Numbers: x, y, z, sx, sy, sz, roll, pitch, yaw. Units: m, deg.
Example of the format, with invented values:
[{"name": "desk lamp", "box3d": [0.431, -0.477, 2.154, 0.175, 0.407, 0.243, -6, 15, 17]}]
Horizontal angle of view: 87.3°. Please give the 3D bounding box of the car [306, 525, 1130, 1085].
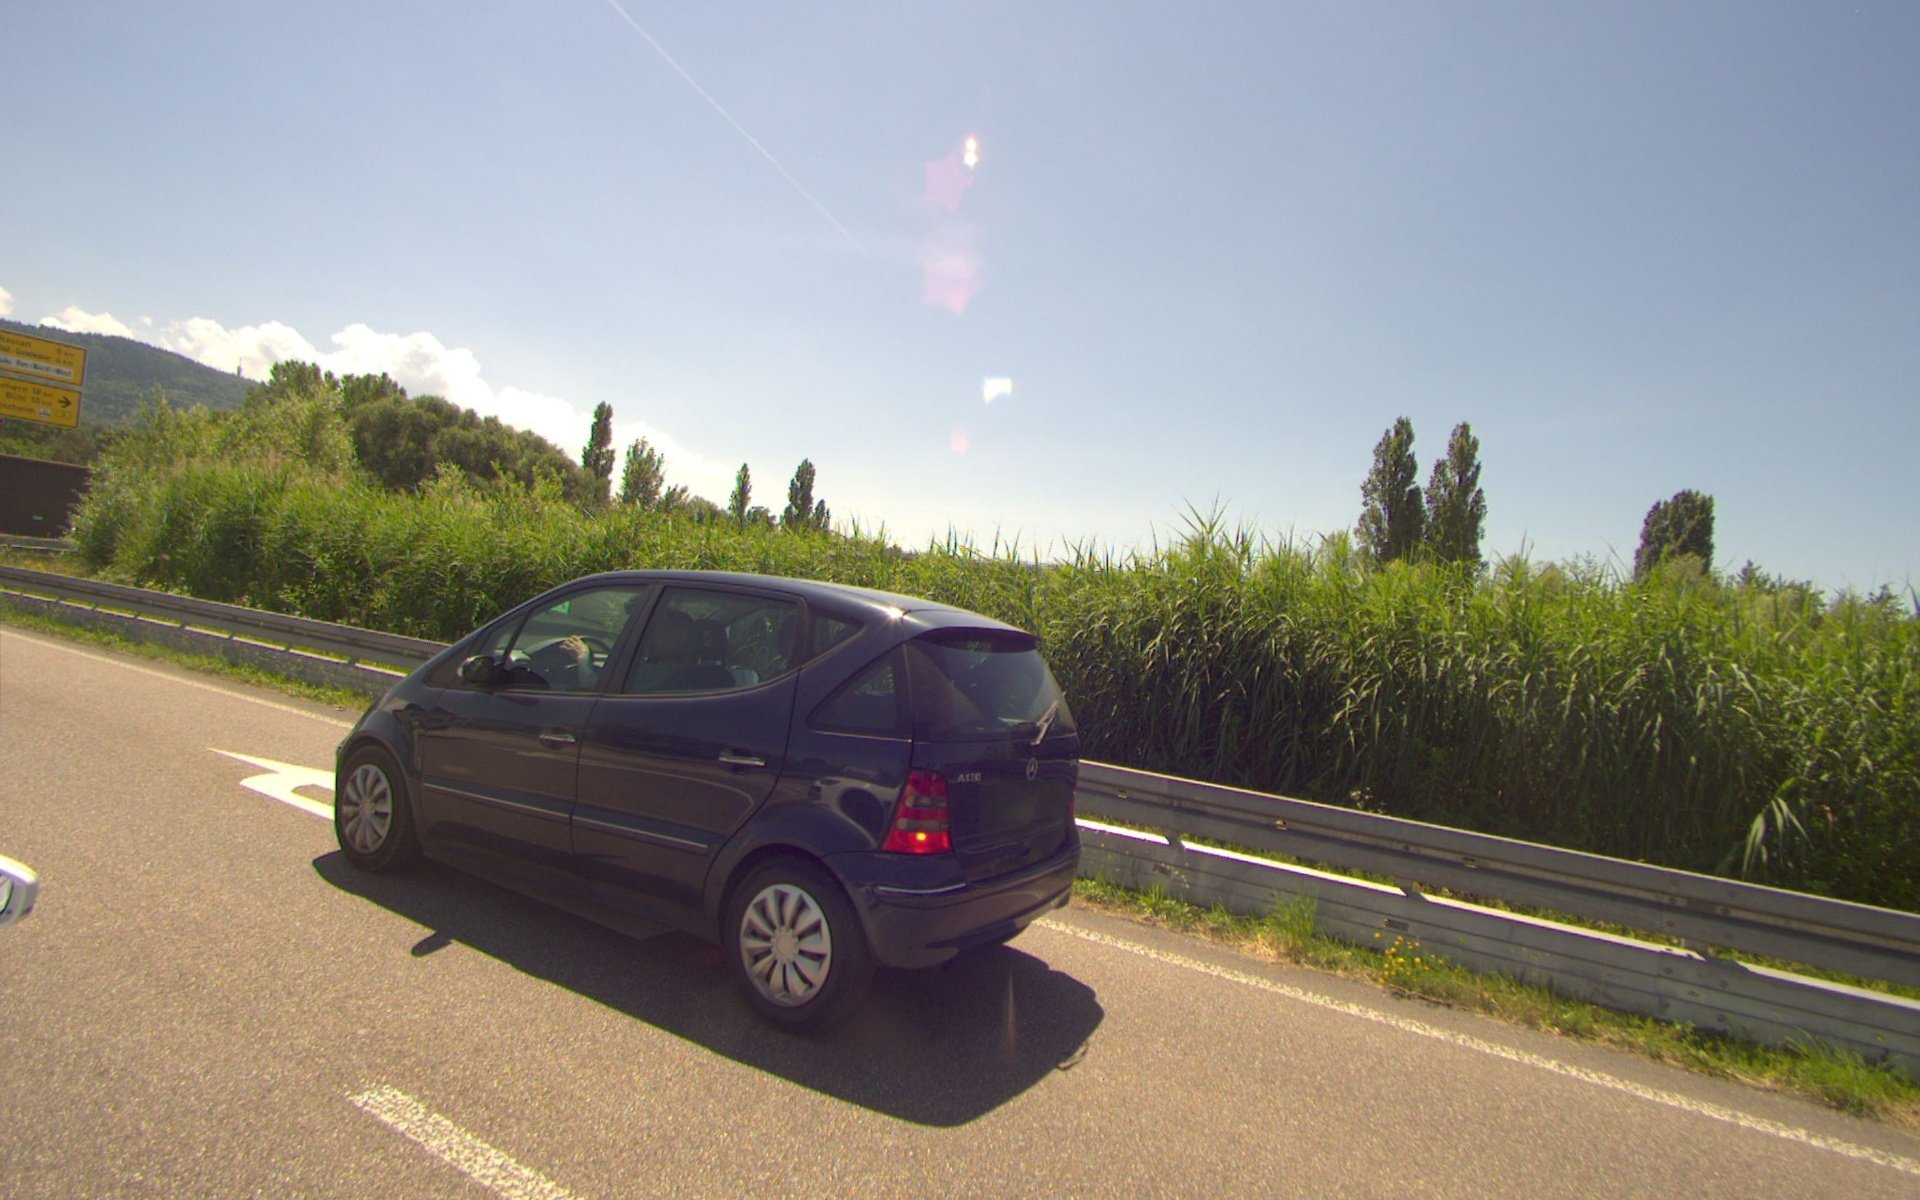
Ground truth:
[{"name": "car", "box3d": [-1.207, 0.666, 4.815, 3.493, 1.619, 1.672, 6, -2, 29]}]
